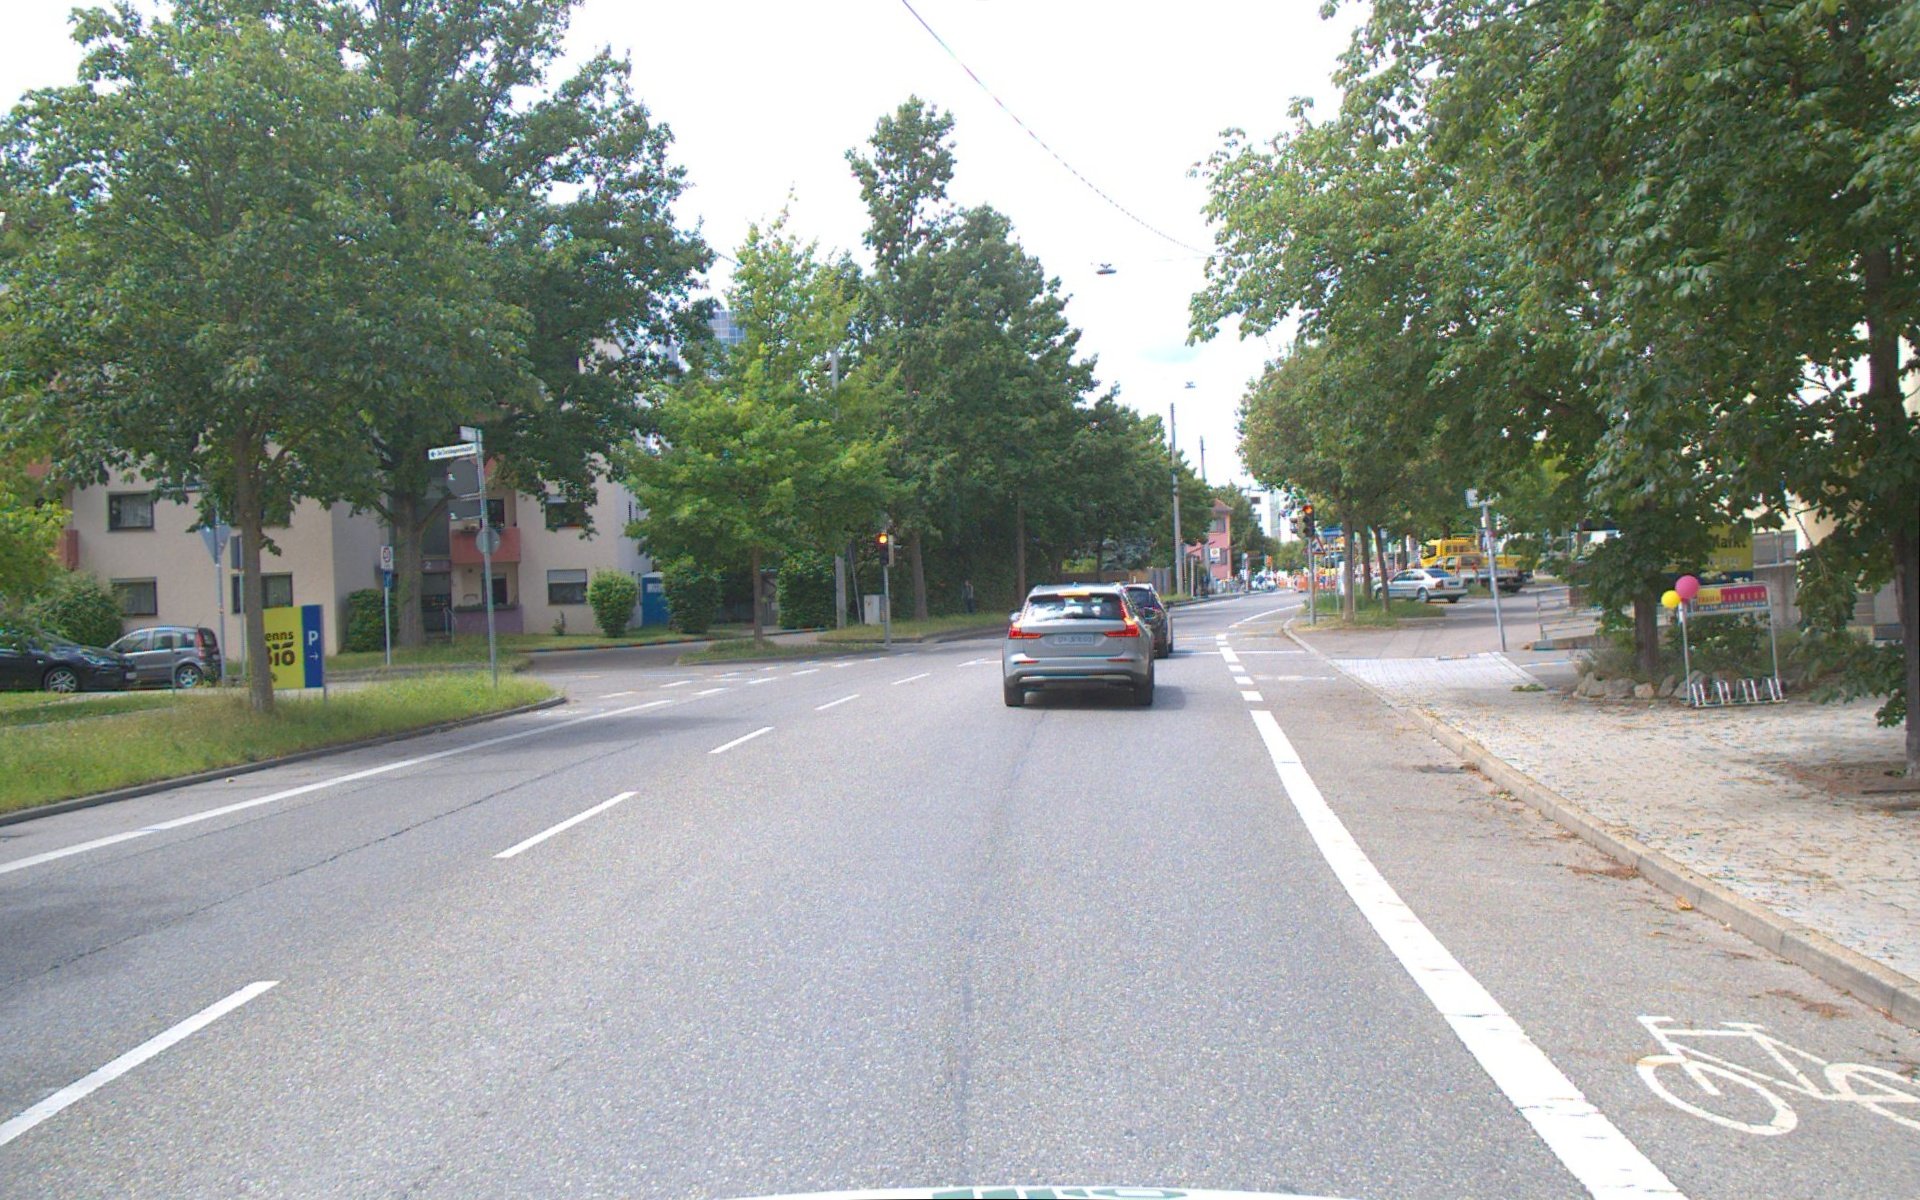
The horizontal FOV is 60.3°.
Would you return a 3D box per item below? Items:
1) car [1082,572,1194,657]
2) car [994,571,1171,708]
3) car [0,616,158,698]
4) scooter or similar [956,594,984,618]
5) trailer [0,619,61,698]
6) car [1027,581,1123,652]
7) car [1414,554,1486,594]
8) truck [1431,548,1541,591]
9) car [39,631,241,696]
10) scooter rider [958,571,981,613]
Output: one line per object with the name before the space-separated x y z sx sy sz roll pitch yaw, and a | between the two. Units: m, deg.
car | 3.641 0.242 33.196 1.766 1.550 4.333 1 1 12
car | 1.700 0.441 21.533 1.914 1.550 4.333 -2 0 9
car | -17.800 1.124 31.665 3.998 1.424 1.792 -1 -4 -5
scooter or similar | 0.422 0.245 69.104 0.943 0.978 0.683 -2 0 -32
trailer | -24.150 1.462 40.026 3.832 1.830 1.628 -1 -4 -7
car | 2.942 0.413 41.487 1.766 1.644 4.332 1 0 12
car | 26.410 -1.401 89.138 3.721 2.049 1.723 -1 -1 -33
truck | 26.701 -1.561 83.960 5.535 2.049 2.069 -1 -1 -29
car | -19.942 1.565 40.368 3.998 1.424 1.792 -1 -4 -5
scooter rider | 0.408 -0.329 69.114 0.698 1.758 0.673 -1 -1 -31
